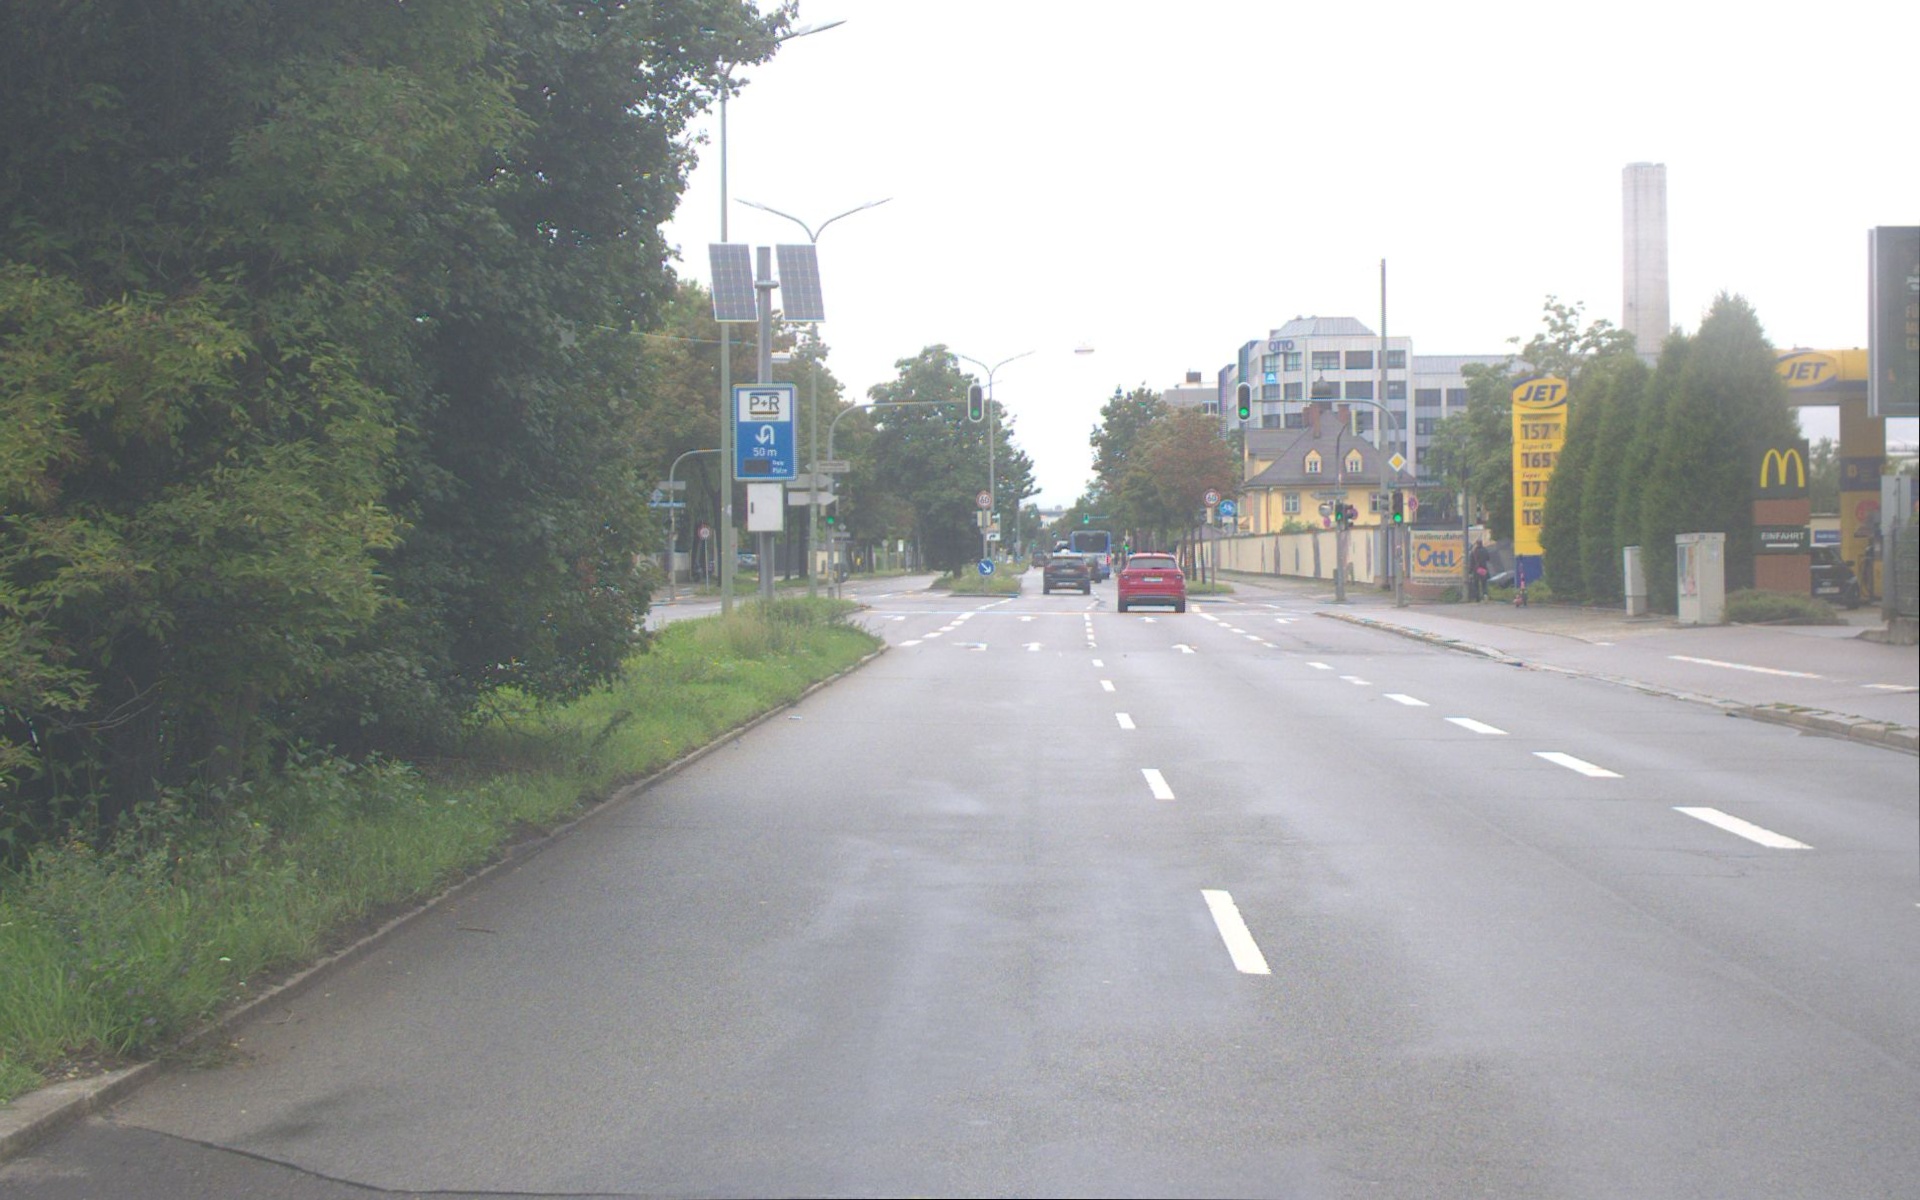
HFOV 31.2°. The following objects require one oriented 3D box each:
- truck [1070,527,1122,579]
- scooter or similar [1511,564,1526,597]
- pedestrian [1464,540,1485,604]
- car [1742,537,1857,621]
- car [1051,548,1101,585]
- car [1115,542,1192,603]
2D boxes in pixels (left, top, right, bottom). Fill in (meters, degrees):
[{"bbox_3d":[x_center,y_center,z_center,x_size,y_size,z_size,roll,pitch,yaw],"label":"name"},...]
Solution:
[{"bbox_3d":[8.784,-3.030,222.288,2.969,3.274,7.916,0,1,0],"label":"truck"},{"bbox_3d":[14.246,-0.496,87.629,0.175,0.820,0.778,0,1,24],"label":"scooter or similar"},{"bbox_3d":[13.196,-0.713,88.179,0.483,1.630,0.590,0,1,4],"label":"pedestrian"},{"bbox_3d":[18.481,-0.493,75.852,1.754,1.787,4.000,-1,1,3],"label":"car"},{"bbox_3d":[4.608,-1.333,137.142,1.803,1.428,4.000,-1,1,0],"label":"car"},{"bbox_3d":[5.210,-0.743,92.882,1.862,1.612,4.000,0,0,0],"label":"car"}]
